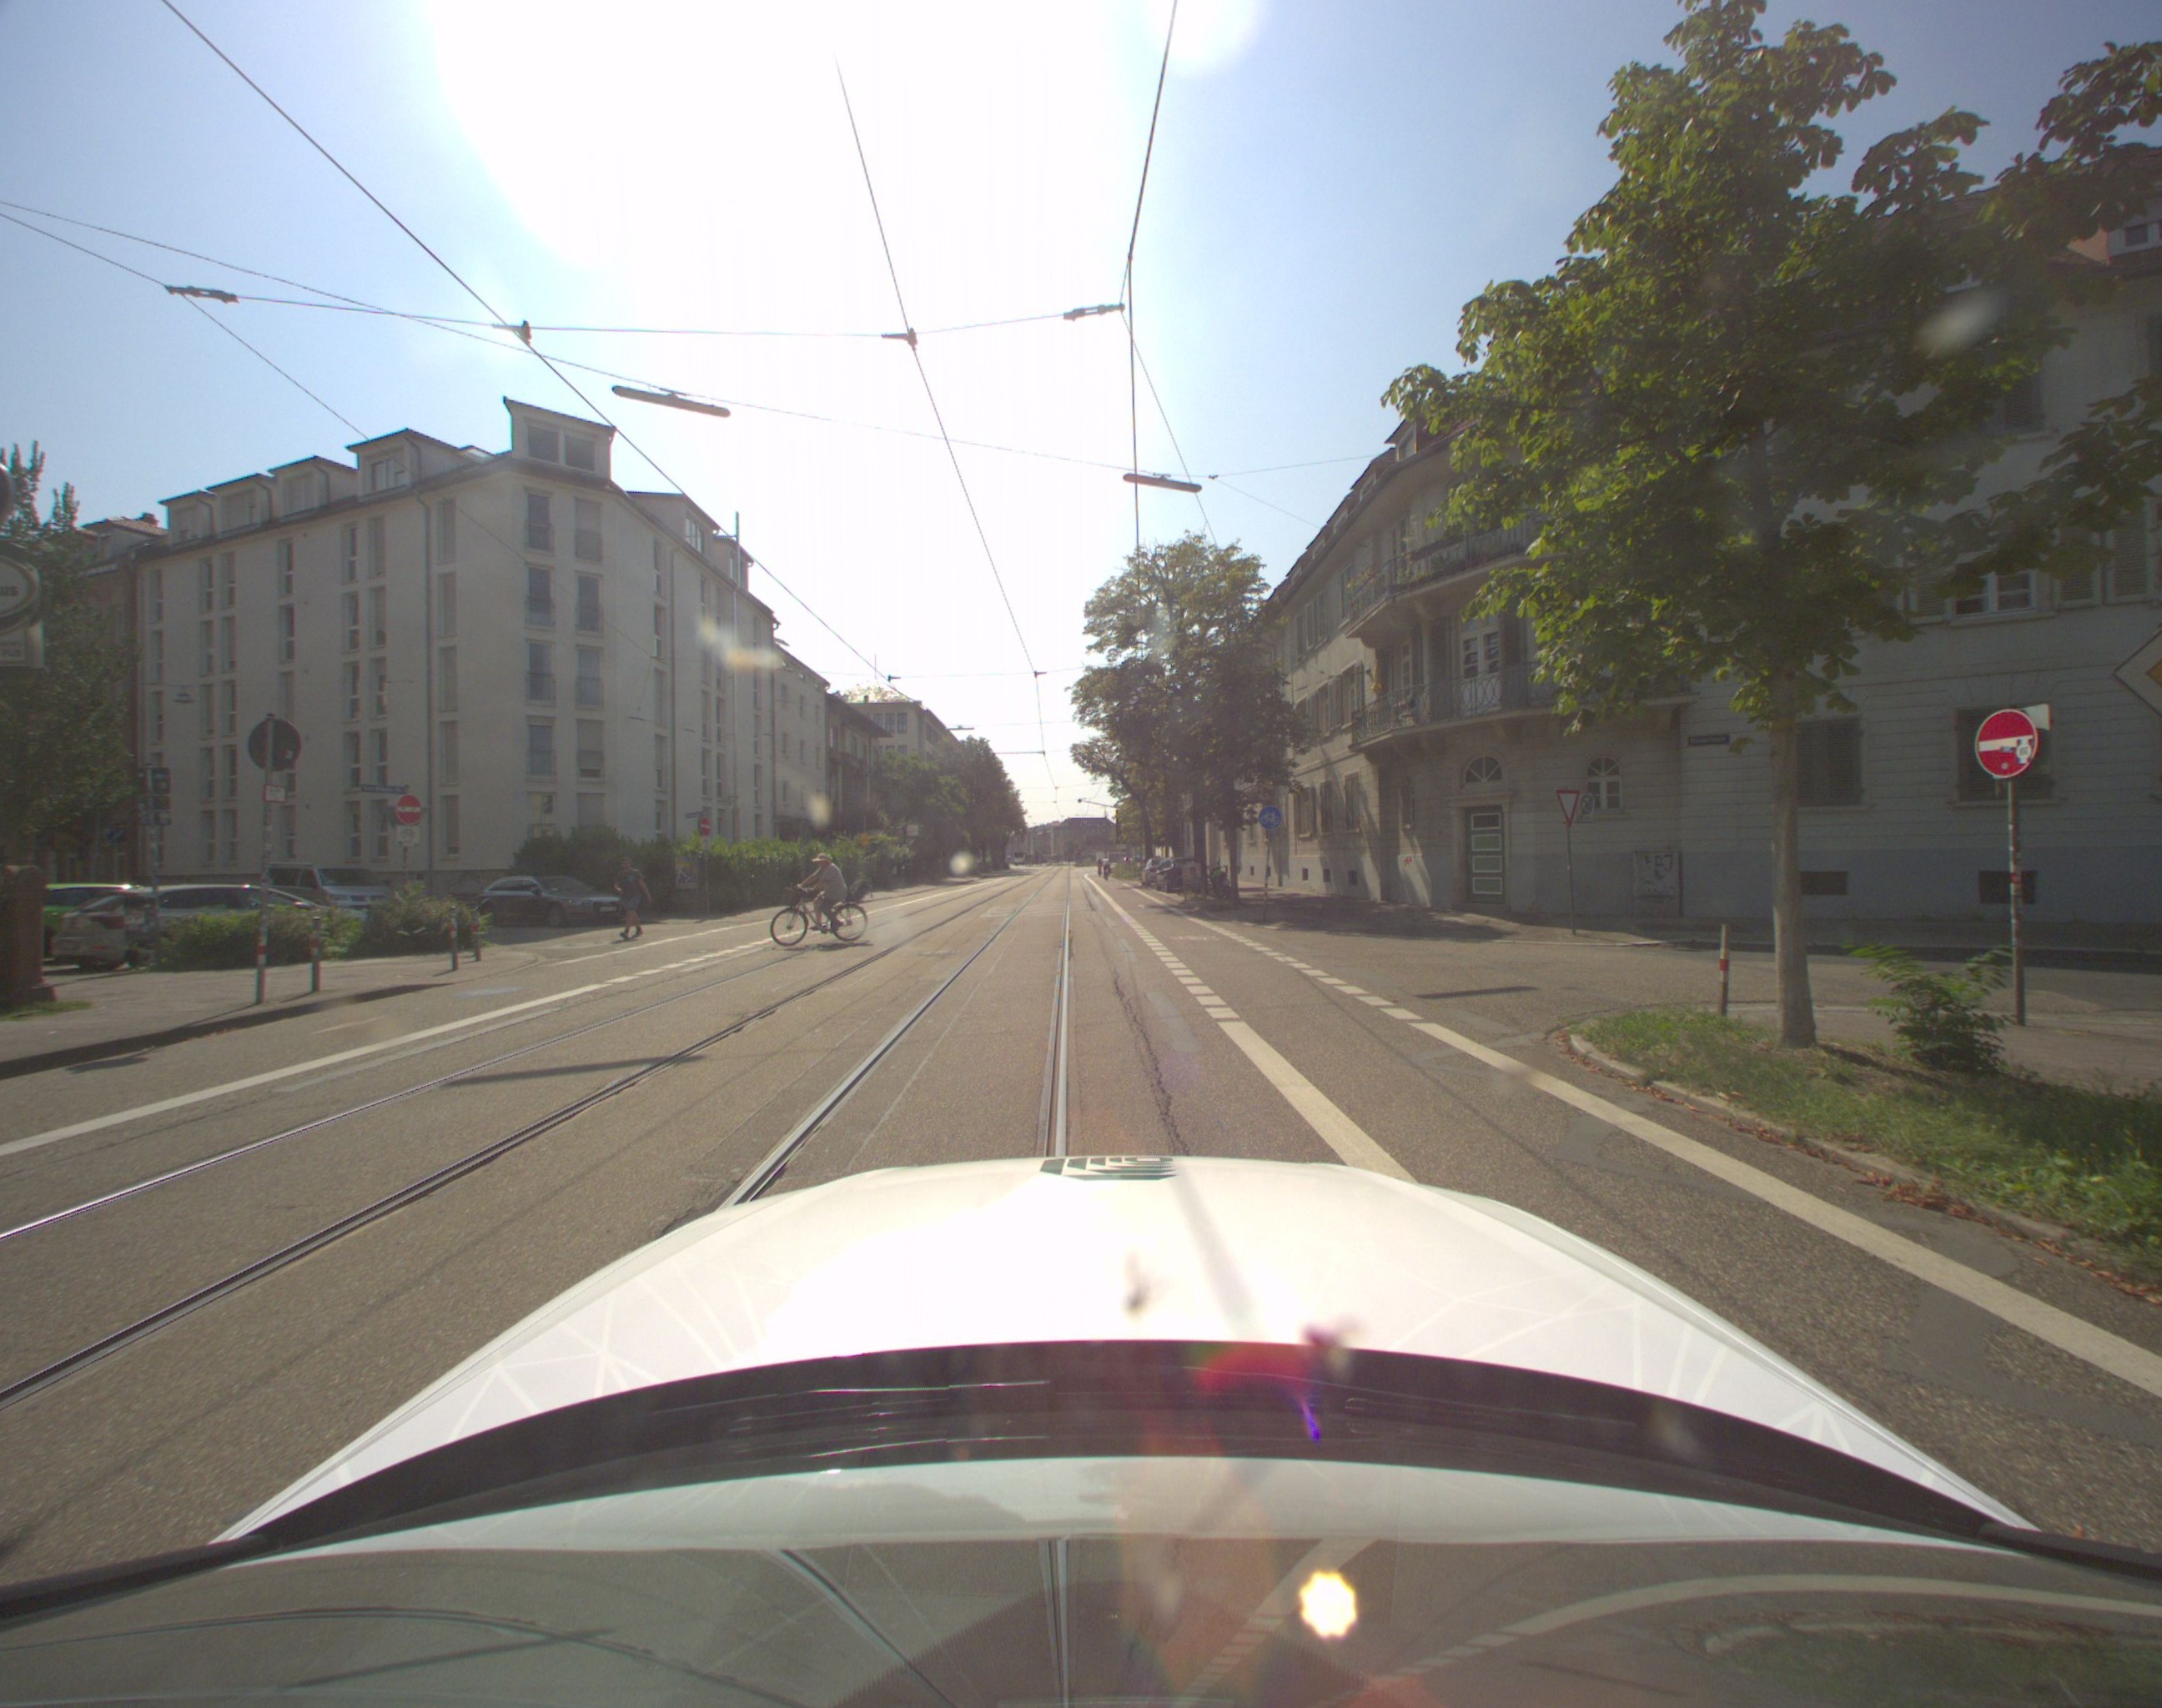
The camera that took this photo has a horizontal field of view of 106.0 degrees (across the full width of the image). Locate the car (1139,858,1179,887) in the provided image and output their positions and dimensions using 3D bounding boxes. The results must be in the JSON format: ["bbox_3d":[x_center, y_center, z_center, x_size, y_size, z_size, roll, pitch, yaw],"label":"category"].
[{"bbox_3d":[4.034,0.960,42.542,1.580,1.464,3.463,-1,-1,-3],"label":"car"}]

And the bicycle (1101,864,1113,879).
[{"bbox_3d":[1.811,1.231,57.091,0.756,0.991,2.297,-1,0,-1],"label":"bicycle"}]

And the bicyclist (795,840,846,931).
[{"bbox_3d":[-4.893,0.574,15.274,0.827,1.643,0.779,-1,0,-24],"label":"bicyclist"}]

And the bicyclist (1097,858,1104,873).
[{"bbox_3d":[1.718,1.000,72.141,0.577,1.279,0.471,-1,-1,1],"label":"bicyclist"}]

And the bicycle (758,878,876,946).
[{"bbox_3d":[-4.947,1.057,15.247,2.043,1.151,0.779,-1,0,-23],"label":"bicycle"}]

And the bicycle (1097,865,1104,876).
[{"bbox_3d":[1.727,1.444,72.195,0.586,0.939,2.172,-1,0,1],"label":"bicycle"}]

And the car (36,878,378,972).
[{"bbox_3d":[-15.473,1.188,14.706,1.672,1.343,3.834,-2,-1,21],"label":"car"}]

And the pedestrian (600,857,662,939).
[{"bbox_3d":[-10.096,0.968,18.293,0.777,1.756,1.040,-2,-1,-1],"label":"pedestrian"}]

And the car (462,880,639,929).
[{"bbox_3d":[-15.015,1.422,23.094,4.195,1.184,2.010,-2,-1,19],"label":"car"}]

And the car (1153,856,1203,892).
[{"bbox_3d":[4.166,0.863,35.260,1.580,1.464,3.412,-1,-1,-3],"label":"car"}]

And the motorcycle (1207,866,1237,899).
[{"bbox_3d":[4.794,0.953,27.801,0.547,1.068,2.329,-1,0,-1],"label":"motorcycle"}]

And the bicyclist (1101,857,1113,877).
[{"bbox_3d":[1.802,0.890,56.949,0.756,1.391,0.779,-1,-1,-1],"label":"bicyclist"}]

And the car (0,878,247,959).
[{"bbox_3d":[-19.692,1.237,16.292,1.672,1.343,3.834,-2,-1,21],"label":"car"}]

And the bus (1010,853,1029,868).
[{"bbox_3d":[-14.502,1.591,193.128,3.725,3.364,15.110,-1,0,-1],"label":"bus"}]

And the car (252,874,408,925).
[{"bbox_3d":[-24.563,1.485,26.670,4.105,1.498,1.990,-2,-1,19],"label":"car"}]
